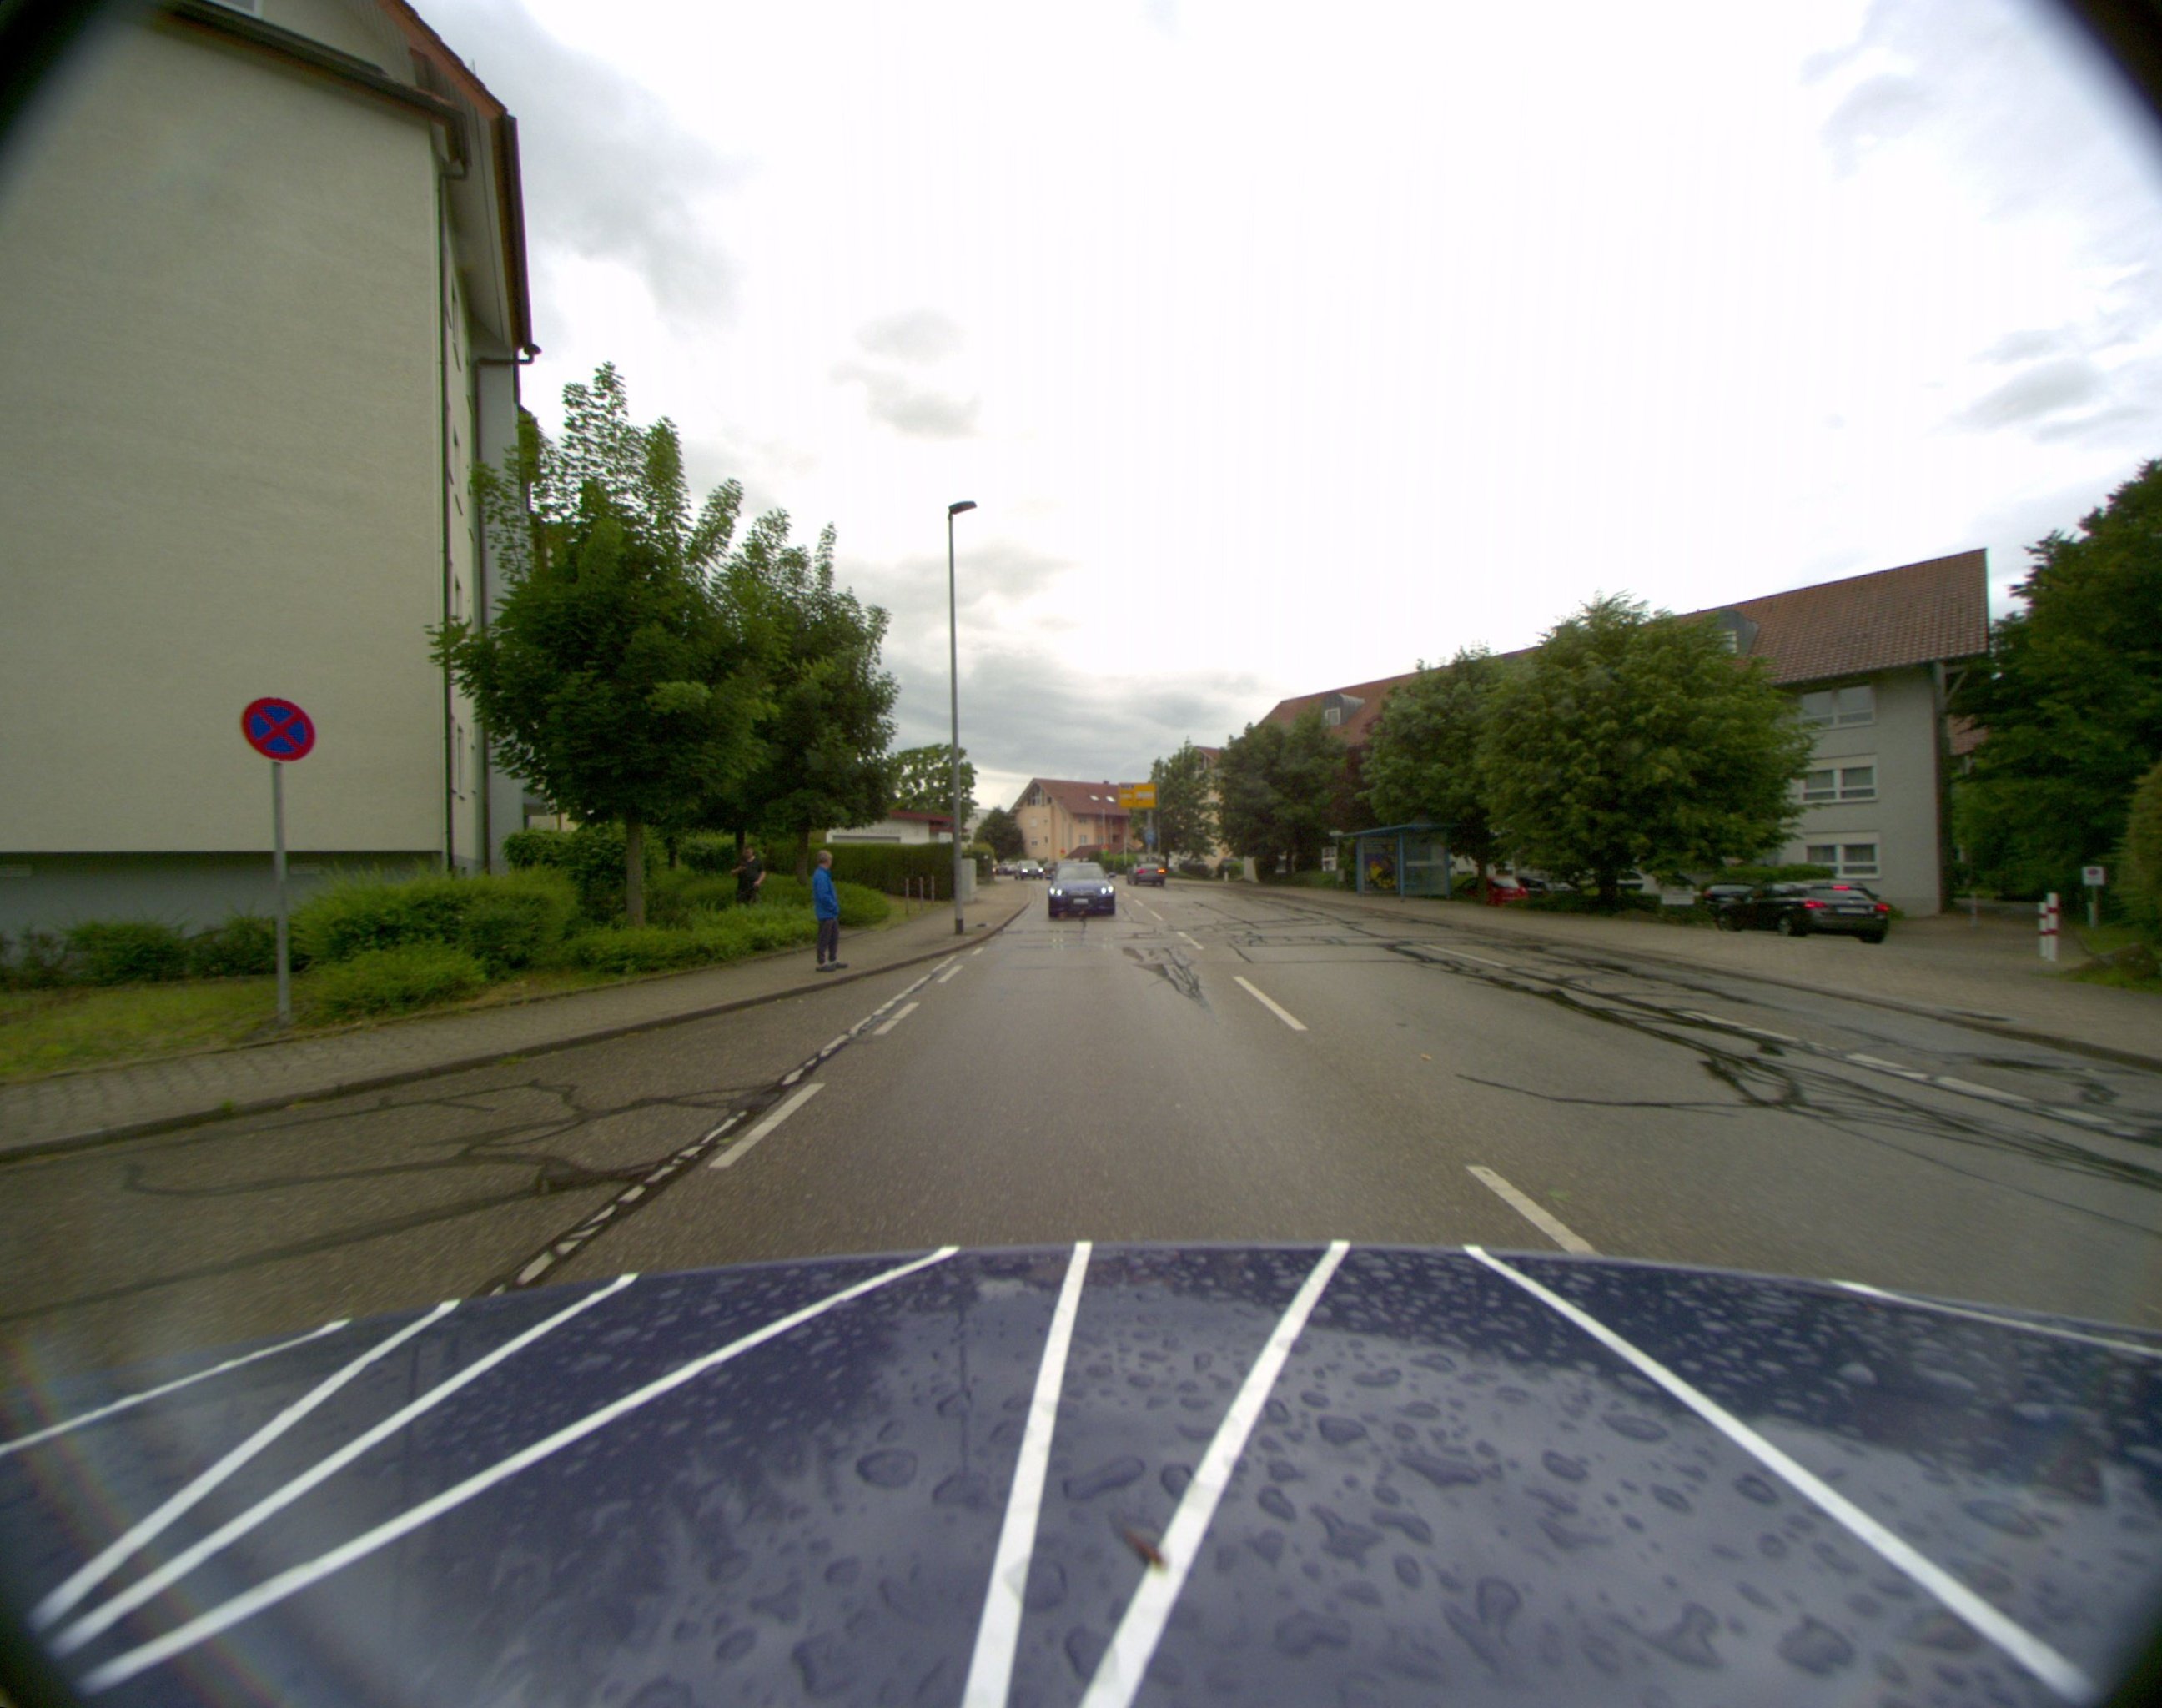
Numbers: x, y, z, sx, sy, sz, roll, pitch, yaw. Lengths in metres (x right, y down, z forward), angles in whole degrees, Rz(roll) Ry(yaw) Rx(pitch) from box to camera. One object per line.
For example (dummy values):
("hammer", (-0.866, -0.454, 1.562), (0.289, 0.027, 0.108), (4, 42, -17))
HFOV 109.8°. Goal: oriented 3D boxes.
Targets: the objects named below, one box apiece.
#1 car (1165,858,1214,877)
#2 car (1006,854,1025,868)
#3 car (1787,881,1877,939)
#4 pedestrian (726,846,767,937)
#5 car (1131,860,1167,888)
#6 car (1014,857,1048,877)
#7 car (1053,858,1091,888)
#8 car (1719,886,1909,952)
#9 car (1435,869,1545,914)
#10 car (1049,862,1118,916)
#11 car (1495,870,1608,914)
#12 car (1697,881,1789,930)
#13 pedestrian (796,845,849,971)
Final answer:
("car", (9.355, 1.154, 65.774), (1.741, 1.592, 3.989), (0, 0, -40))
("car", (-7.312, 0.808, 84.119), (1.669, 1.516, 3.996), (0, 0, -11))
("car", (22.675, 1.615, 22.901), (3.723, 1.424, 1.666), (-2, 1, -42))
("pedestrian", (-6.682, 0.740, 15.209), (0.615, 1.762, 0.670), (-2, 1, -15))
("car", (3.957, 1.143, 44.744), (1.678, 1.434, 3.999), (-1, 0, 0))
("car", (-4.272, 1.061, 64.202), (1.843, 1.541, 3.994), (-2, 0, -18))
("car", (-0.510, 0.956, 40.512), (1.841, 1.440, 3.999), (-1, 0, -3))
("car", (18.288, 1.607, 19.257), (1.995, 1.412, 4.176), (0, -4, 21))
("car", (15.514, 1.369, 29.062), (1.774, 1.455, 3.998), (-1, 0, -5))
("car", (0.012, 0.999, 23.493), (1.913, 1.425, 4.300), (-2, 0, -2))
("car", (17.923, 1.401, 29.173), (1.615, 1.455, 3.998), (-1, 0, -5))
("car", (22.269, 1.676, 25.535), (3.437, 1.386, 1.666), (-2, 1, -37))
("pedestrian", (-3.553, 0.718, 10.481), (0.591, 1.656, 0.774), (-2, 1, -16))
